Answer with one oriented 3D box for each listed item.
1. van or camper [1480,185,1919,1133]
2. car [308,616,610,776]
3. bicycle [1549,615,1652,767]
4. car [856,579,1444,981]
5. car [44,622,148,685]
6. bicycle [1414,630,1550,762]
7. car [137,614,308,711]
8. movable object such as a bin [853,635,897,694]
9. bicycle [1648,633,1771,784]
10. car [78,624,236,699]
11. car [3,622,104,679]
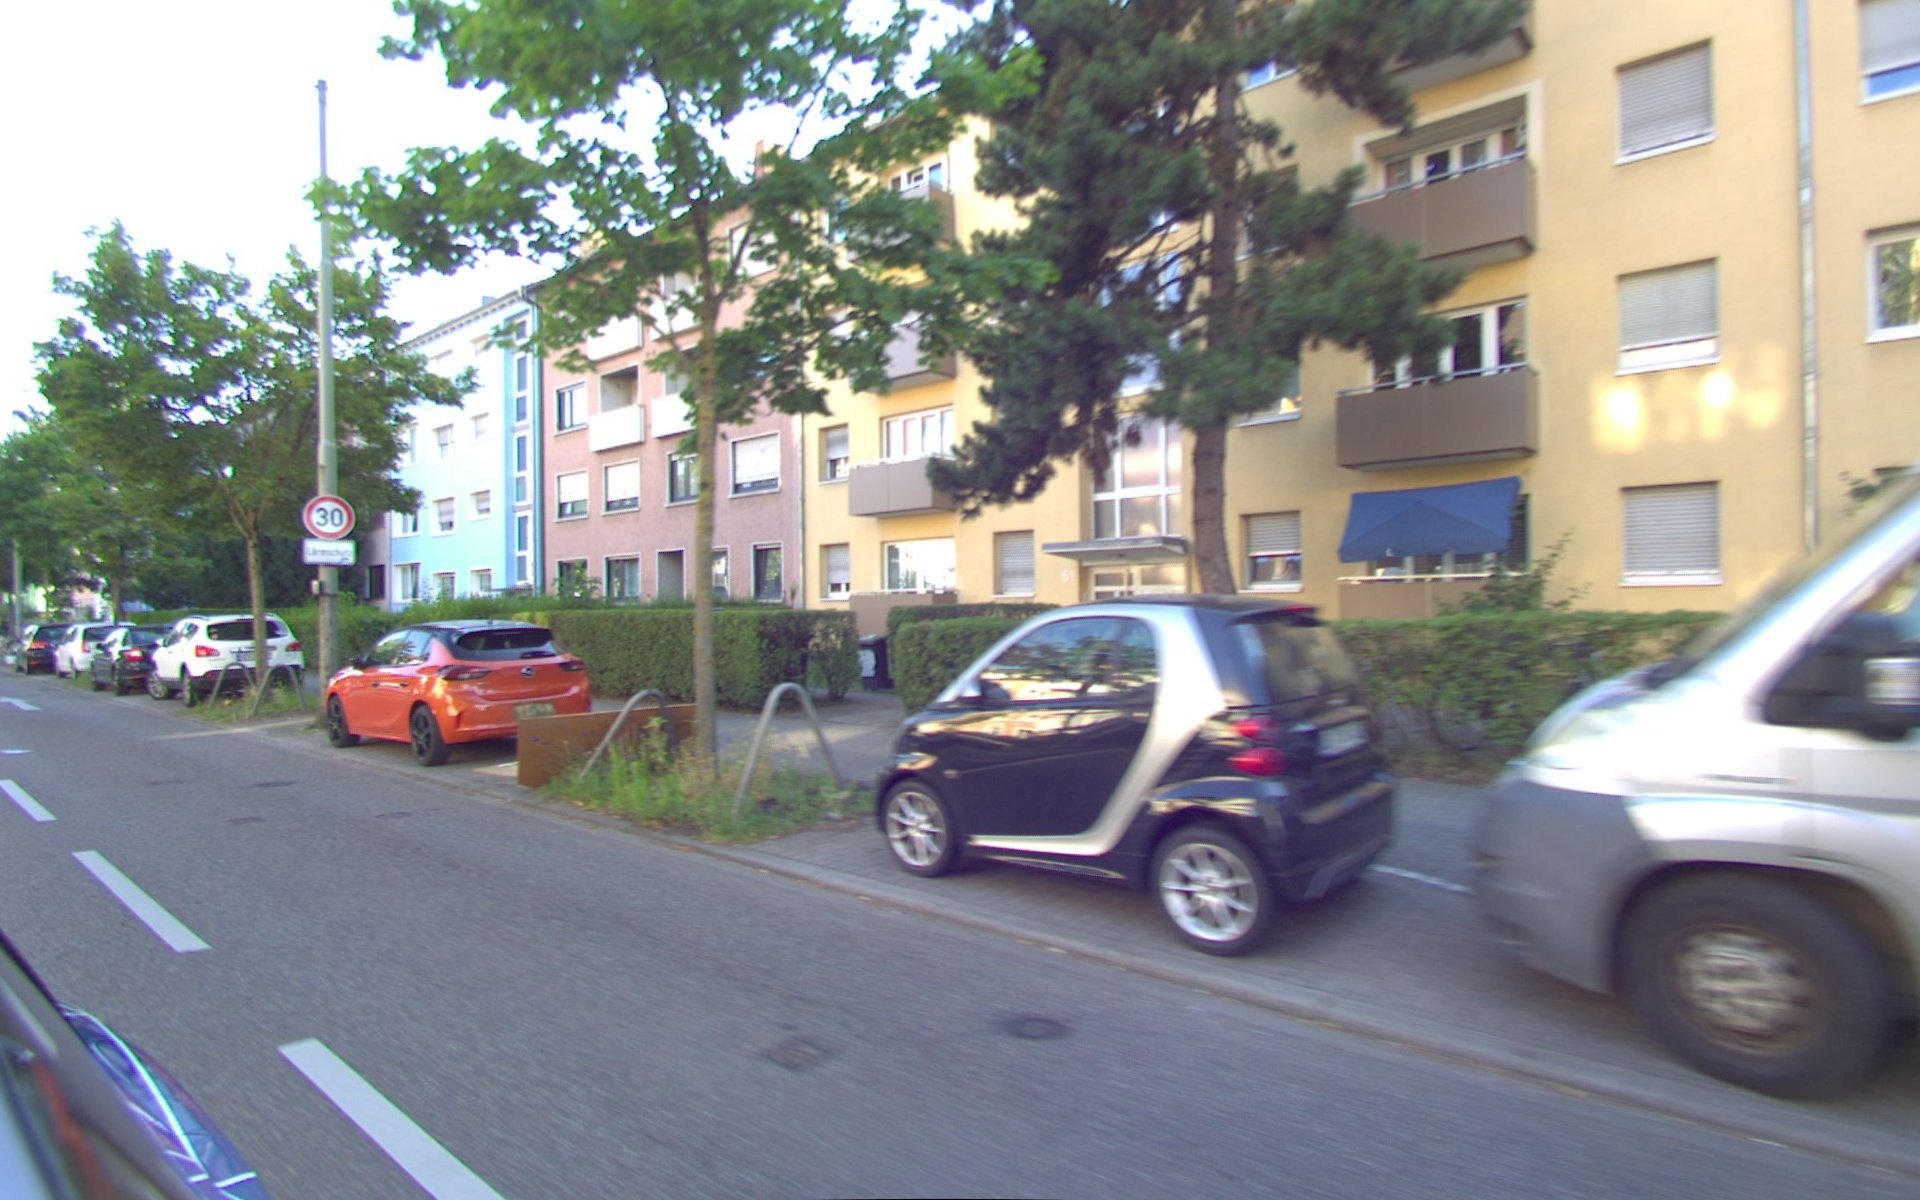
[{"bbox_3d":[4.816,0.113,2.452,6.009,2.683,2.016,-1,1,39],"label":"van or camper"},{"bbox_3d":[-5.803,0.966,11.524,3.921,1.463,1.699,-2,0,41],"label":"car"},{"bbox_3d":[5.353,0.687,8.415,0.608,1.102,1.922,-1,-1,35],"label":"bicycle"},{"bbox_3d":[0.899,0.727,5.442,2.761,1.560,1.388,-2,1,43],"label":"car"},{"bbox_3d":[-23.330,1.383,27.286,3.639,1.503,1.575,-1,0,41],"label":"car"},{"bbox_3d":[4.669,0.795,8.985,0.582,0.932,1.915,-2,1,42],"label":"bicycle"},{"bbox_3d":[-14.021,1.102,19.153,4.184,1.600,1.758,-1,0,42],"label":"car"},{"bbox_3d":[-1.387,1.054,16.615,0.445,0.932,0.575,-1,-1,39],"label":"movable object such as a bin"},{"bbox_3d":[5.942,0.786,7.980,0.582,0.932,1.915,-2,1,42],"label":"bicycle"},{"bbox_3d":[-17.891,1.287,22.471,4.456,1.459,1.973,-1,-1,41],"label":"car"},{"bbox_3d":[-27.349,1.464,30.484,4.314,1.529,1.818,-1,0,42],"label":"car"}]
